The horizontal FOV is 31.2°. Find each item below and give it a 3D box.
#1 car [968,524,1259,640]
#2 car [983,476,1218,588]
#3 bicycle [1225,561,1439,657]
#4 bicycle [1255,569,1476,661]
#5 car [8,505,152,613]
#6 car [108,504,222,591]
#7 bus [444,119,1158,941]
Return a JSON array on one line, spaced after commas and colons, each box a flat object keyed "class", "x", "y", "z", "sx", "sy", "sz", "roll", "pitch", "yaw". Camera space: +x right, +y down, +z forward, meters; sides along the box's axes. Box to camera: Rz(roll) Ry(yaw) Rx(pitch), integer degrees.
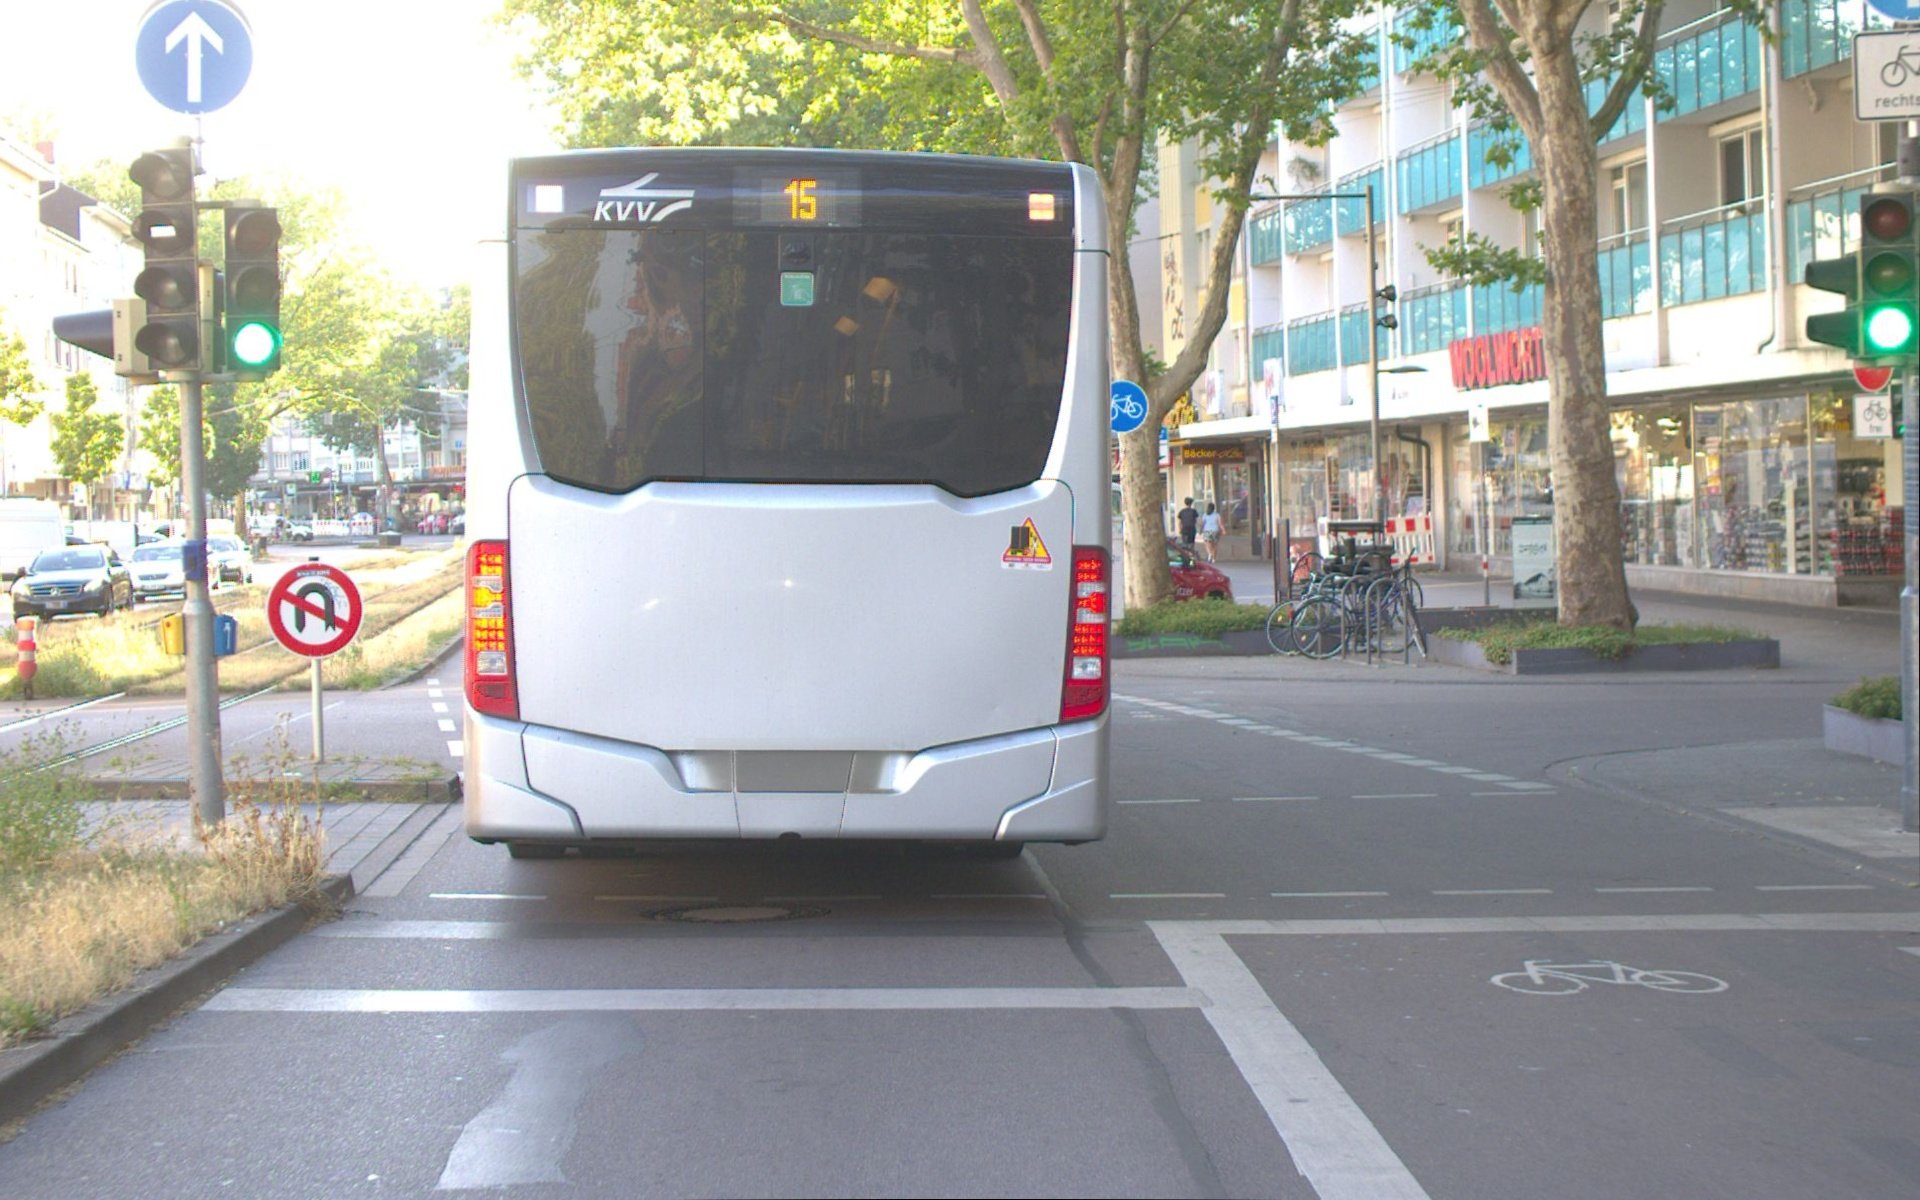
[{"class": "car", "x": 2.198, "y": -0.272, "z": 48.352, "sx": 1.998, "sy": 1.525, "sz": 3.990, "roll": 0, "pitch": 1, "yaw": 42}, {"class": "car", "x": 2.606, "y": -1.260, "z": 63.200, "sx": 3.989, "sy": 1.963, "sz": 1.999, "roll": -2, "pitch": 1, "yaw": -41}, {"class": "bicycle", "x": 4.290, "y": 0.097, "z": 39.678, "sx": 2.309, "sy": 1.025, "sz": 0.837, "roll": -1, "pitch": 2, "yaw": -8}, {"class": "bicycle", "x": 4.532, "y": 0.157, "z": 38.492, "sx": 2.309, "sy": 0.936, "sz": 0.837, "roll": -1, "pitch": 2, "yaw": -8}, {"class": "car", "x": -17.253, "y": -0.819, "z": 67.571, "sx": 1.993, "sy": 2.007, "sz": 4.001, "roll": -1, "pitch": 1, "yaw": -3}, {"class": "car", "x": -19.123, "y": -1.264, "z": 82.841, "sx": 1.993, "sy": 2.007, "sz": 4.001, "roll": -1, "pitch": 1, "yaw": -3}, {"class": "bus", "x": -0.793, "y": -0.343, "z": 16.483, "sx": 2.677, "sy": 3.073, "sz": 7.115, "roll": 0, "pitch": 1, "yaw": -3}]
